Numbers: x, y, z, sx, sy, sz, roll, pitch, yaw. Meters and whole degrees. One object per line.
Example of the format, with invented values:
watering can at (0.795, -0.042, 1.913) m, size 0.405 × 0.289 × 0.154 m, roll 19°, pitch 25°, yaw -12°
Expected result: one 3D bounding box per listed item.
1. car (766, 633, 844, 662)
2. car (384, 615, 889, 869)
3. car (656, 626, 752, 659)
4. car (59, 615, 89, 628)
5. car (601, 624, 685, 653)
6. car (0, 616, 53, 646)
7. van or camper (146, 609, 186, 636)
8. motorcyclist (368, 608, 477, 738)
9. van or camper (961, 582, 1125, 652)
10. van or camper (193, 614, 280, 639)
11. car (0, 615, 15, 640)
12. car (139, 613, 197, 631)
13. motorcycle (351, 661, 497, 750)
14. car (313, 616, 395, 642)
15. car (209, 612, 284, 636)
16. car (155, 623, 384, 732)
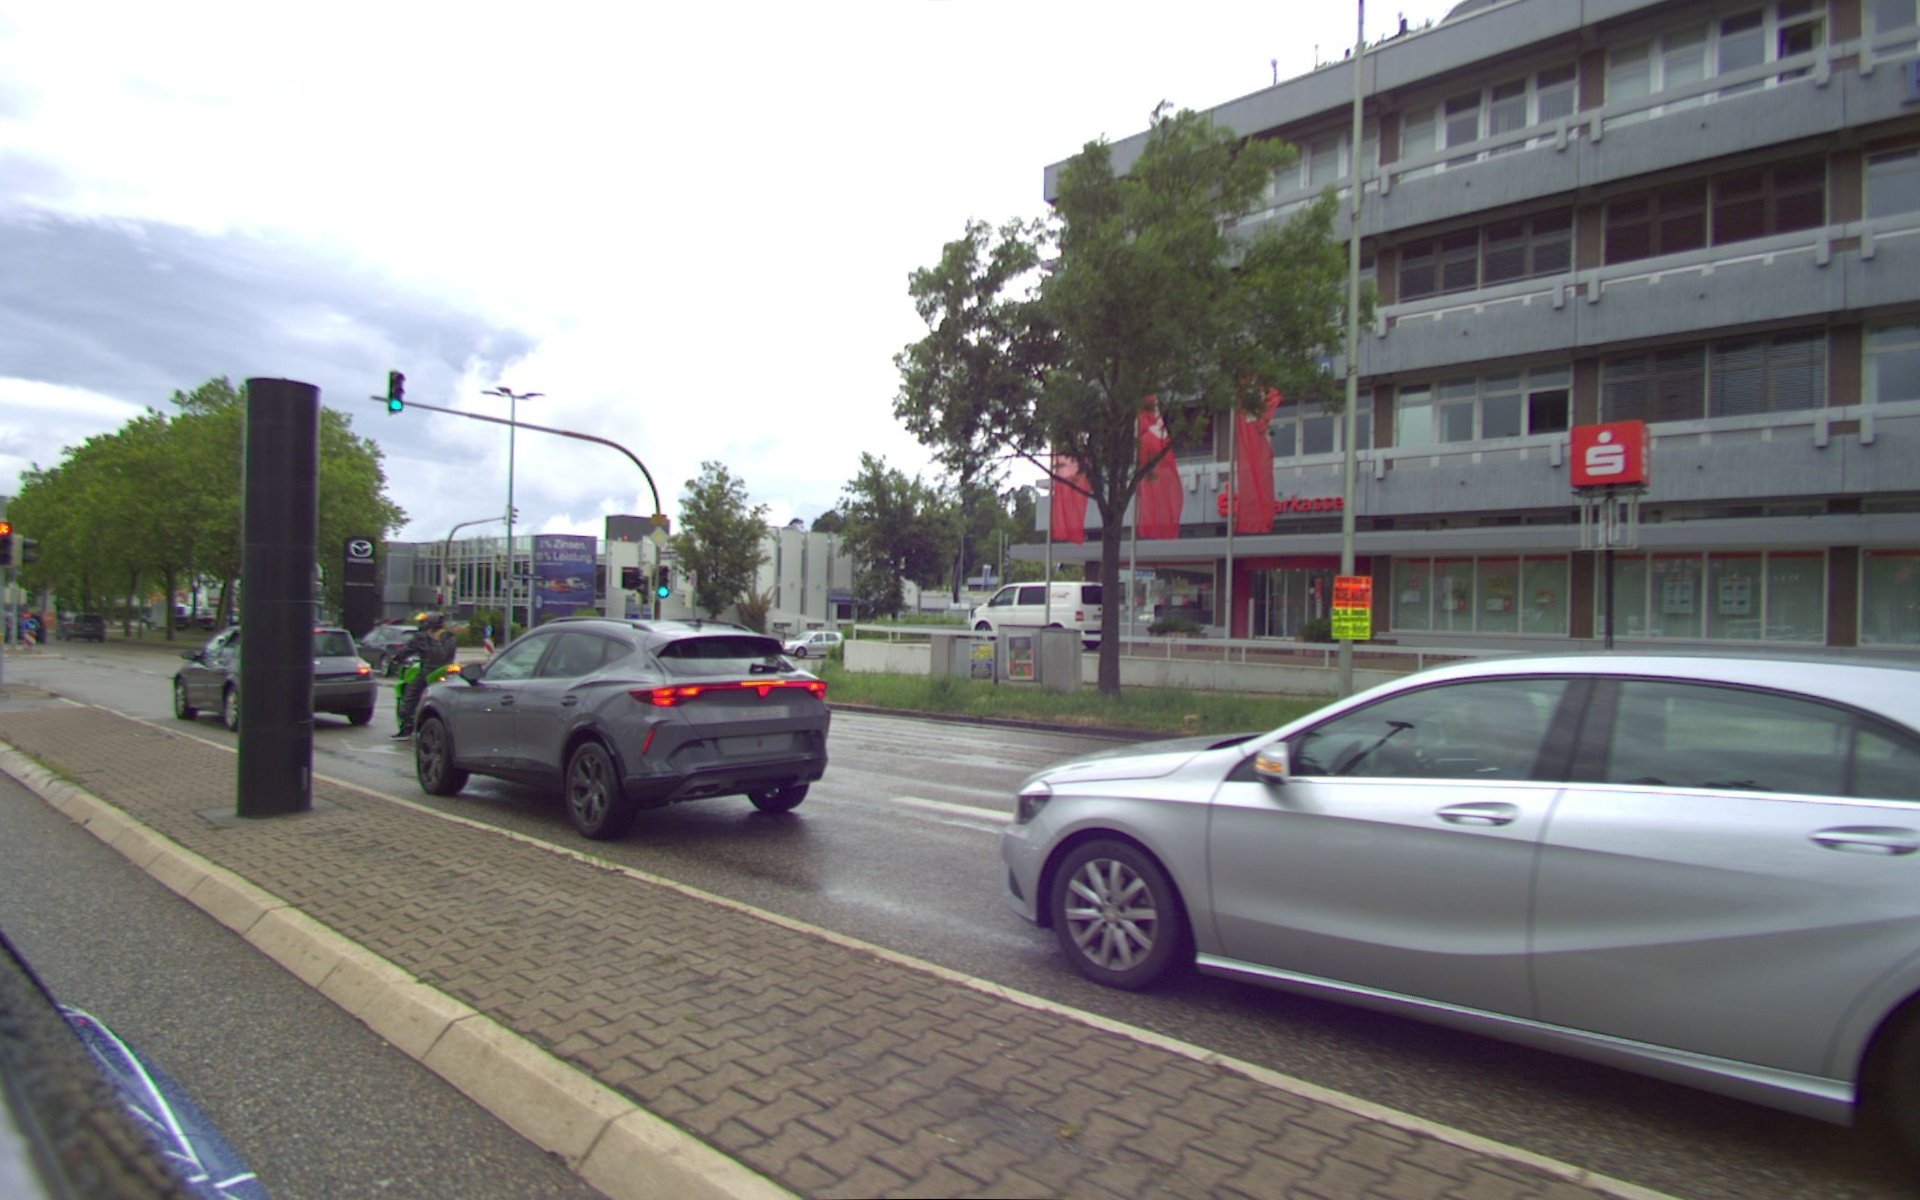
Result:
car at (-7.959, 2.442, 52.271) m, size 1.878 × 1.410 × 3.648 m, roll -1°, pitch -2°, yaw 41°
car at (-2.877, 0.897, 8.271) m, size 4.827 × 1.501 × 1.726 m, roll -1°, pitch -2°, yaw 42°
car at (-12.140, 1.996, 48.131) m, size 1.879 × 1.500 × 4.103 m, roll -1°, pitch -2°, yaw 42°
car at (-109.056, 2.588, 124.535) m, size 5.244 × 1.507 × 2.096 m, roll 0°, pitch -2°, yaw 41°
car at (-16.927, 2.041, 54.207) m, size 1.817 × 1.500 × 3.937 m, roll -1°, pitch -2°, yaw 41°
car at (-51.574, 1.690, 55.592) m, size 4.357 × 1.620 × 1.892 m, roll -1°, pitch -2°, yaw 38°
van or camper at (-74.791, 2.103, 95.261) m, size 6.400 × 2.489 × 1.972 m, roll 0°, pitch 0°, yaw 42°
motorcyclist at (-6.857, 0.897, 12.910) m, size 1.266 × 1.571 × 0.798 m, roll -1°, pitch -2°, yaw 40°
van or camper at (2.472, 0.472, 30.967) m, size 4.787 × 1.981 × 1.973 m, roll 0°, pitch 1°, yaw 41°
van or camper at (-57.551, 2.085, 80.626) m, size 2.089 × 1.783 × 5.341 m, roll 4°, pitch 0°, yaw 19°
car at (-62.951, 1.783, 65.678) m, size 3.995 × 1.592 × 1.694 m, roll -1°, pitch -3°, yaw 38°
car at (-92.848, 2.627, 118.641) m, size 2.128 × 2.029 × 4.994 m, roll 0°, pitch -2°, yaw 40°
motorcycle at (-6.864, 1.301, 12.907) m, size 2.321 × 0.983 × 0.798 m, roll -1°, pitch -4°, yaw 40°
car at (-40.387, 1.896, 67.550) m, size 1.984 × 1.608 × 4.540 m, roll 0°, pitch 0°, yaw 19°
car at (-54.954, 1.863, 78.053) m, size 1.984 × 1.829 × 4.440 m, roll 0°, pitch -2°, yaw 19°
car at (-10.282, 1.052, 14.977) m, size 3.995 × 1.387 × 1.666 m, roll -1°, pitch -2°, yaw 38°
